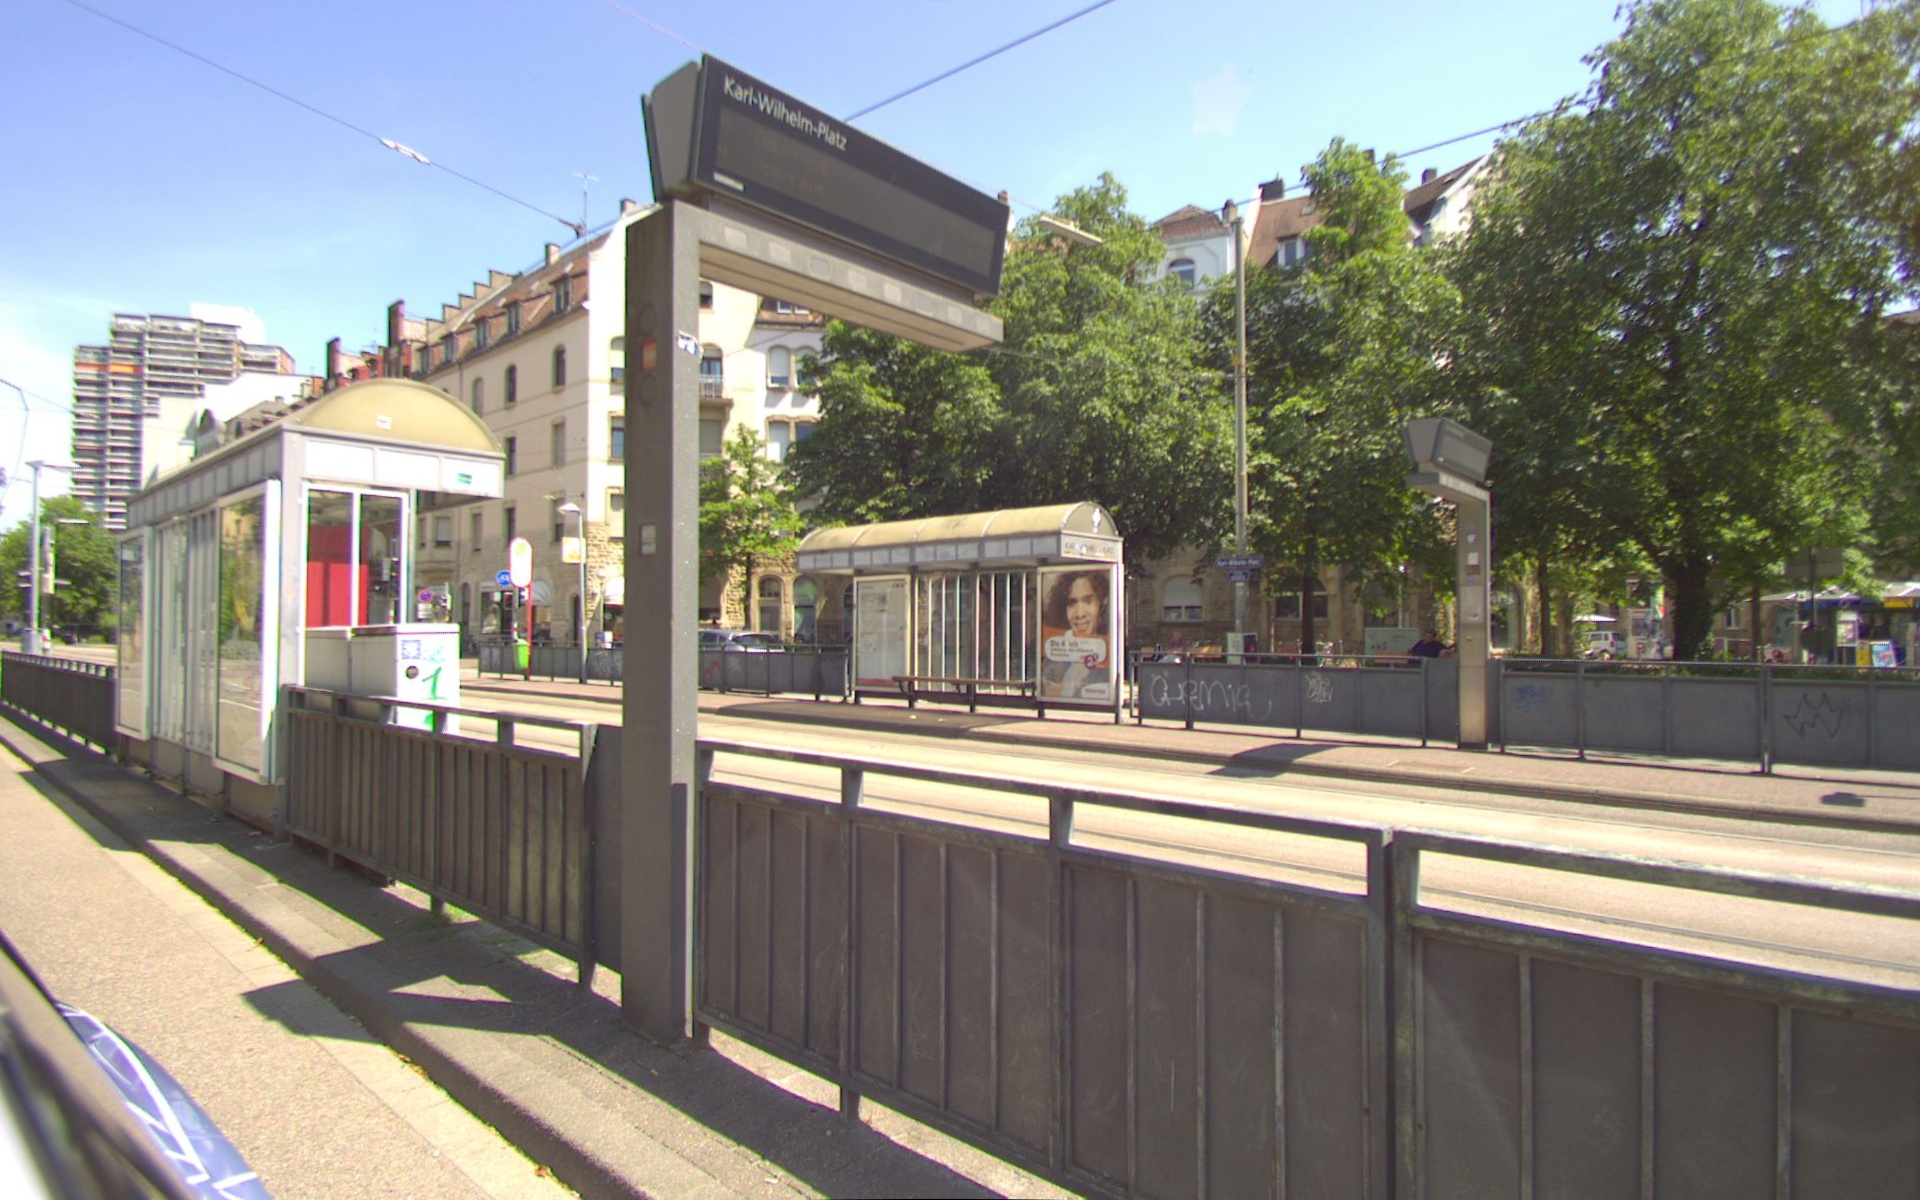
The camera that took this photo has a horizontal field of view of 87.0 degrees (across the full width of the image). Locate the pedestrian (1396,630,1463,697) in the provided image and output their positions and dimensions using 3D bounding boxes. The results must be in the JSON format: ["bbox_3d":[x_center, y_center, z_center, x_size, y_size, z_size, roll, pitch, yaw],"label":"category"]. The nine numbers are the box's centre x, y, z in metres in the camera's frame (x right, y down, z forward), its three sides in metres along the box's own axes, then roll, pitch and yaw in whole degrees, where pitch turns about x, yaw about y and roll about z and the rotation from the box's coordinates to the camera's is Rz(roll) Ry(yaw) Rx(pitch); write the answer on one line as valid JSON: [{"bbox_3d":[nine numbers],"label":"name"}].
[{"bbox_3d":[9.296,1.239,20.033,0.852,1.253,0.939,-1,0,-43],"label":"pedestrian"}]

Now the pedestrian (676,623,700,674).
[{"bbox_3d":[-8.880,1.573,33.051,0.473,1.659,0.586,-2,-3,41],"label":"pedestrian"}]

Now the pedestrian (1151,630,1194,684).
[{"bbox_3d":[5.107,1.357,24.309,0.930,1.253,0.860,-1,0,17],"label":"pedestrian"}]

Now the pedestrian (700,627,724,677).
[{"bbox_3d":[-7.969,1.661,32.489,0.473,1.563,0.586,-2,-3,39],"label":"pedestrian"}]

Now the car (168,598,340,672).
[{"bbox_3d":[-26.940,1.299,38.672,5.774,2.693,2.263,-1,0,16],"label":"car"}]

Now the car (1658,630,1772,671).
[{"bbox_3d":[35.803,2.351,48.093,1.736,1.721,3.998,-1,0,-33],"label":"car"}]

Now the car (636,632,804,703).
[{"bbox_3d":[-5.584,1.490,23.356,3.998,1.404,1.789,-1,0,41],"label":"car"}]

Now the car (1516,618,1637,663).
[{"bbox_3d":[26.734,1.706,44.001,1.966,1.803,4.011,-1,0,-33],"label":"car"}]
